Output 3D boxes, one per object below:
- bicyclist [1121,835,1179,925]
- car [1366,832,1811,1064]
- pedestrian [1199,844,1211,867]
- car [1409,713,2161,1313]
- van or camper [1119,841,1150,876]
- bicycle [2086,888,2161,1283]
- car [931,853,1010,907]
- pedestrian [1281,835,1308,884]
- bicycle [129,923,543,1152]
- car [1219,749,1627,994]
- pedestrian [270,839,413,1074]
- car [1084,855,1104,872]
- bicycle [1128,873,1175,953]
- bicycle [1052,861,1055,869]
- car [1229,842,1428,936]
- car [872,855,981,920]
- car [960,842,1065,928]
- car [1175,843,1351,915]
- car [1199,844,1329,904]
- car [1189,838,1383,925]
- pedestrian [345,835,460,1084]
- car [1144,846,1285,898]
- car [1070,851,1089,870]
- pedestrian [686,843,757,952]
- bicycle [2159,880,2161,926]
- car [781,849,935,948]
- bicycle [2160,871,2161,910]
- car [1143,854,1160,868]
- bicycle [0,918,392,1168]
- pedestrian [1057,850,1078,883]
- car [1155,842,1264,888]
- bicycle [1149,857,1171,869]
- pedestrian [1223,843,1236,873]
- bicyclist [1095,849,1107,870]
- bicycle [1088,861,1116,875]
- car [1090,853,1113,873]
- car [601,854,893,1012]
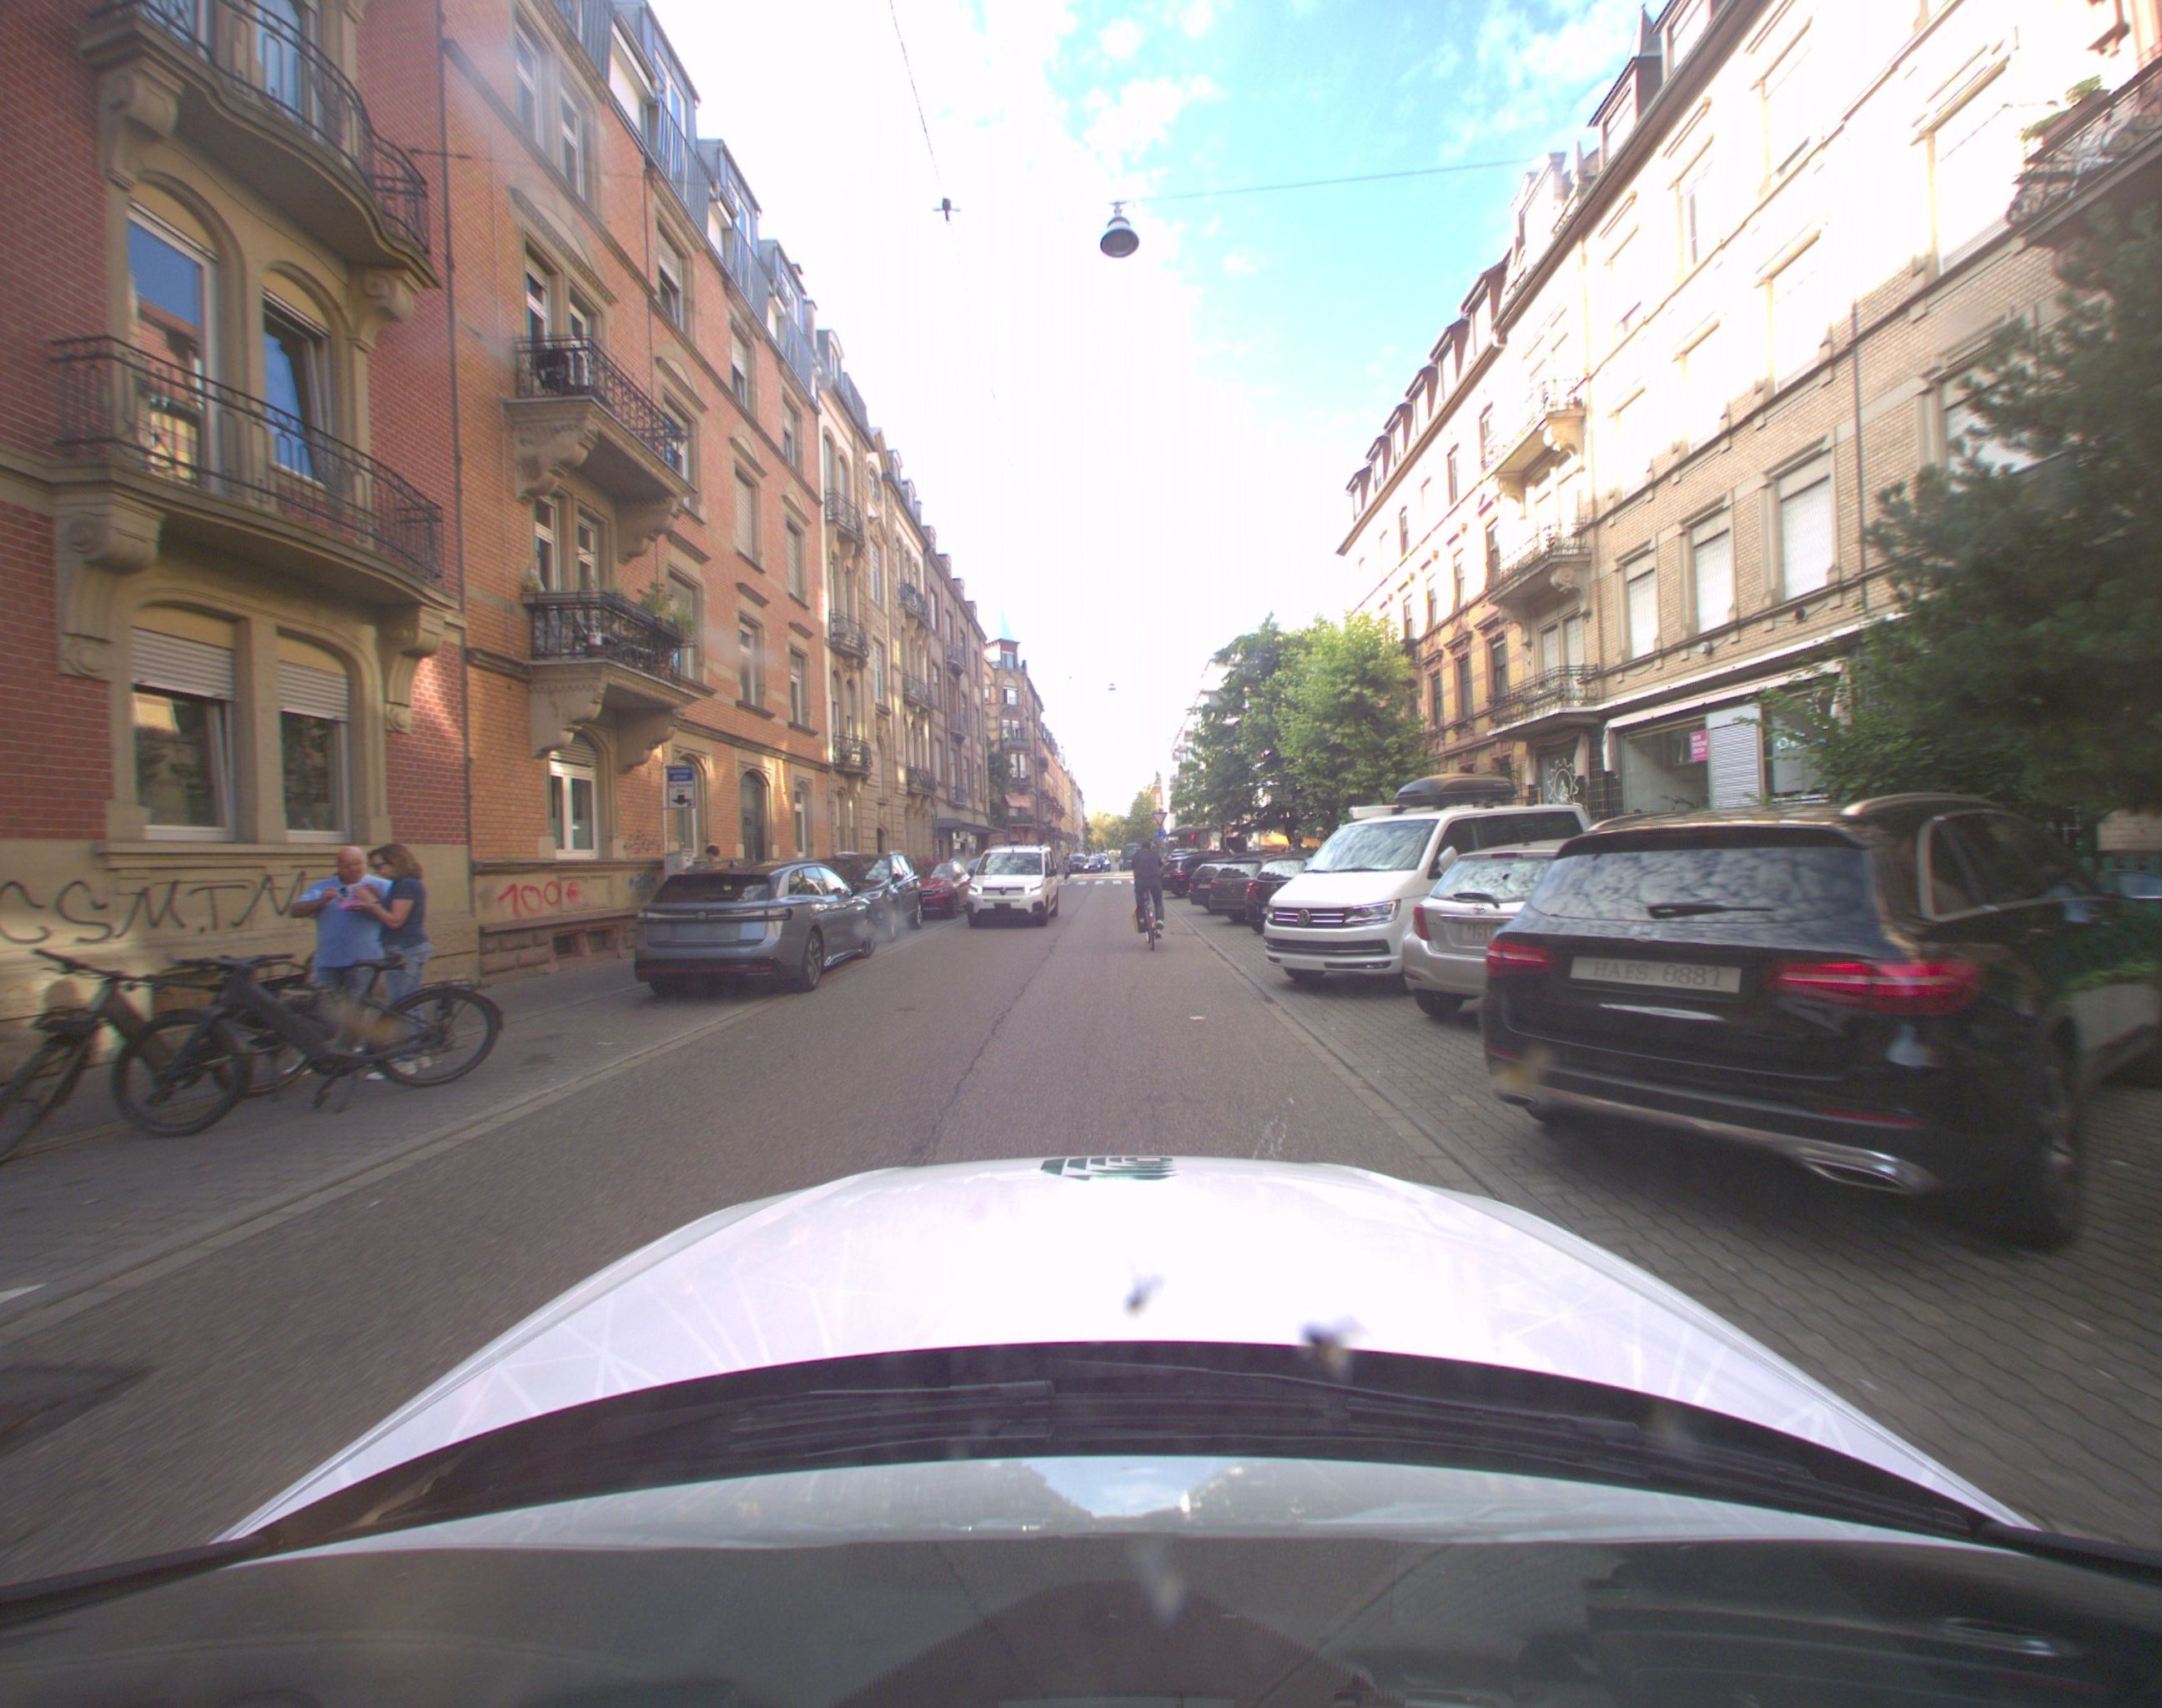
[{"bbox_3d":[1.168,0.437,13.959,0.930,1.484,0.747,-1,0,2],"label":"bicyclist"},{"bbox_3d":[4.776,0.610,7.496,4.253,1.549,1.854,-1,1,-33],"label":"car"},{"bbox_3d":[10.029,0.143,66.062,0.864,1.851,0.614,-2,0,7],"label":"pedestrian"},{"bbox_3d":[4.044,0.419,4.409,4.474,1.732,1.979,-1,0,-33],"label":"car"},{"bbox_3d":[4.894,0.413,75.169,2.523,3.037,4.458,-2,0,0],"label":"van or camper"},{"bbox_3d":[3.855,0.689,1.851,0.407,1.182,1.899,-3,0,-29],"label":"bicycle"},{"bbox_3d":[-3.664,0.819,27.832,1.783,1.628,4.850,-2,-1,2],"label":"car"},{"bbox_3d":[8.387,0.228,32.036,0.835,1.878,0.724,-2,0,6],"label":"pedestrian"},{"bbox_3d":[-4.622,1.049,5.262,0.477,1.059,1.915,0,-1,26],"label":"bicycle"},{"bbox_3d":[4.381,0.085,10.132,5.177,2.405,1.899,-3,0,-31],"label":"car"},{"bbox_3d":[-5.581,0.726,6.185,0.683,1.661,0.546,0,0,-28],"label":"pedestrian"},{"bbox_3d":[1.158,0.824,72.001,1.744,1.436,4.212,-1,-1,1],"label":"car"},{"bbox_3d":[1.168,0.948,13.883,0.663,1.178,2.498,-1,0,2],"label":"bicycle"},{"bbox_3d":[-3.247,1.287,96.314,0.359,0.947,1.714,-1,0,-2],"label":"bicycle"},{"bbox_3d":[4.908,0.602,15.914,4.015,1.459,1.730,-4,0,-39],"label":"car"},{"bbox_3d":[-4.090,0.846,22.367,1.986,1.545,4.428,-2,-1,1],"label":"car"},{"bbox_3d":[-1.524,0.669,19.772,1.910,1.828,4.441,-1,0,3],"label":"car"},{"bbox_3d":[4.865,0.613,21.558,4.486,1.464,1.860,-5,1,-33],"label":"car"},{"bbox_3d":[5.525,0.568,24.421,3.736,1.485,1.722,-4,1,-36],"label":"car"},{"bbox_3d":[4.778,0.562,18.654,4.491,1.477,1.868,-5,2,-38],"label":"car"},{"bbox_3d":[-4.998,0.726,6.037,0.567,1.709,0.661,0,0,-33],"label":"pedestrian"},{"bbox_3d":[4.924,0.617,29.986,4.778,1.456,2.039,-4,1,-26],"label":"car"},{"bbox_3d":[-0.155,0.704,93.285,1.987,2.013,4.000,-3,0,0],"label":"car"},{"bbox_3d":[-6.122,0.720,13.915,0.752,1.808,0.864,-1,0,6],"label":"pedestrian"},{"bbox_3d":[4.355,0.648,2.083,0.407,1.182,1.850,-3,0,-29],"label":"bicycle"},{"bbox_3d":[-4.317,0.757,16.631,1.867,1.681,4.892,-1,0,-1],"label":"car"},{"bbox_3d":[4.720,0.624,2.357,0.407,1.182,1.850,-3,0,-29],"label":"bicycle"},{"bbox_3d":[7.411,0.685,86.247,1.638,1.324,3.580,-5,0,4],"label":"car"},{"bbox_3d":[-5.390,1.009,4.966,0.490,1.095,1.910,0,-1,11],"label":"bicycle"},{"bbox_3d":[-0.781,0.709,46.231,0.774,1.779,0.798,-3,0,40],"label":"pedestrian"},{"bbox_3d":[5.681,0.455,35.948,4.361,1.645,1.807,-5,1,-24],"label":"car"},{"bbox_3d":[7.387,0.837,75.749,1.991,1.045,0.533,-3,0,4],"label":"bicycle"},{"bbox_3d":[8.914,0.247,48.908,0.624,1.739,0.779,-2,0,14],"label":"pedestrian"},{"bbox_3d":[1.639,0.437,66.021,0.848,1.665,0.793,-1,0,13],"label":"bicyclist"},{"bbox_3d":[1.725,1.148,66.003,2.170,1.092,0.680,-1,0,12],"label":"bicycle"},{"bbox_3d":[2.118,0.881,81.179,1.934,1.722,4.856,-4,1,4],"label":"car"},{"bbox_3d":[-4.017,0.812,10.958,1.820,1.578,5.261,-1,0,-1],"label":"car"}]
